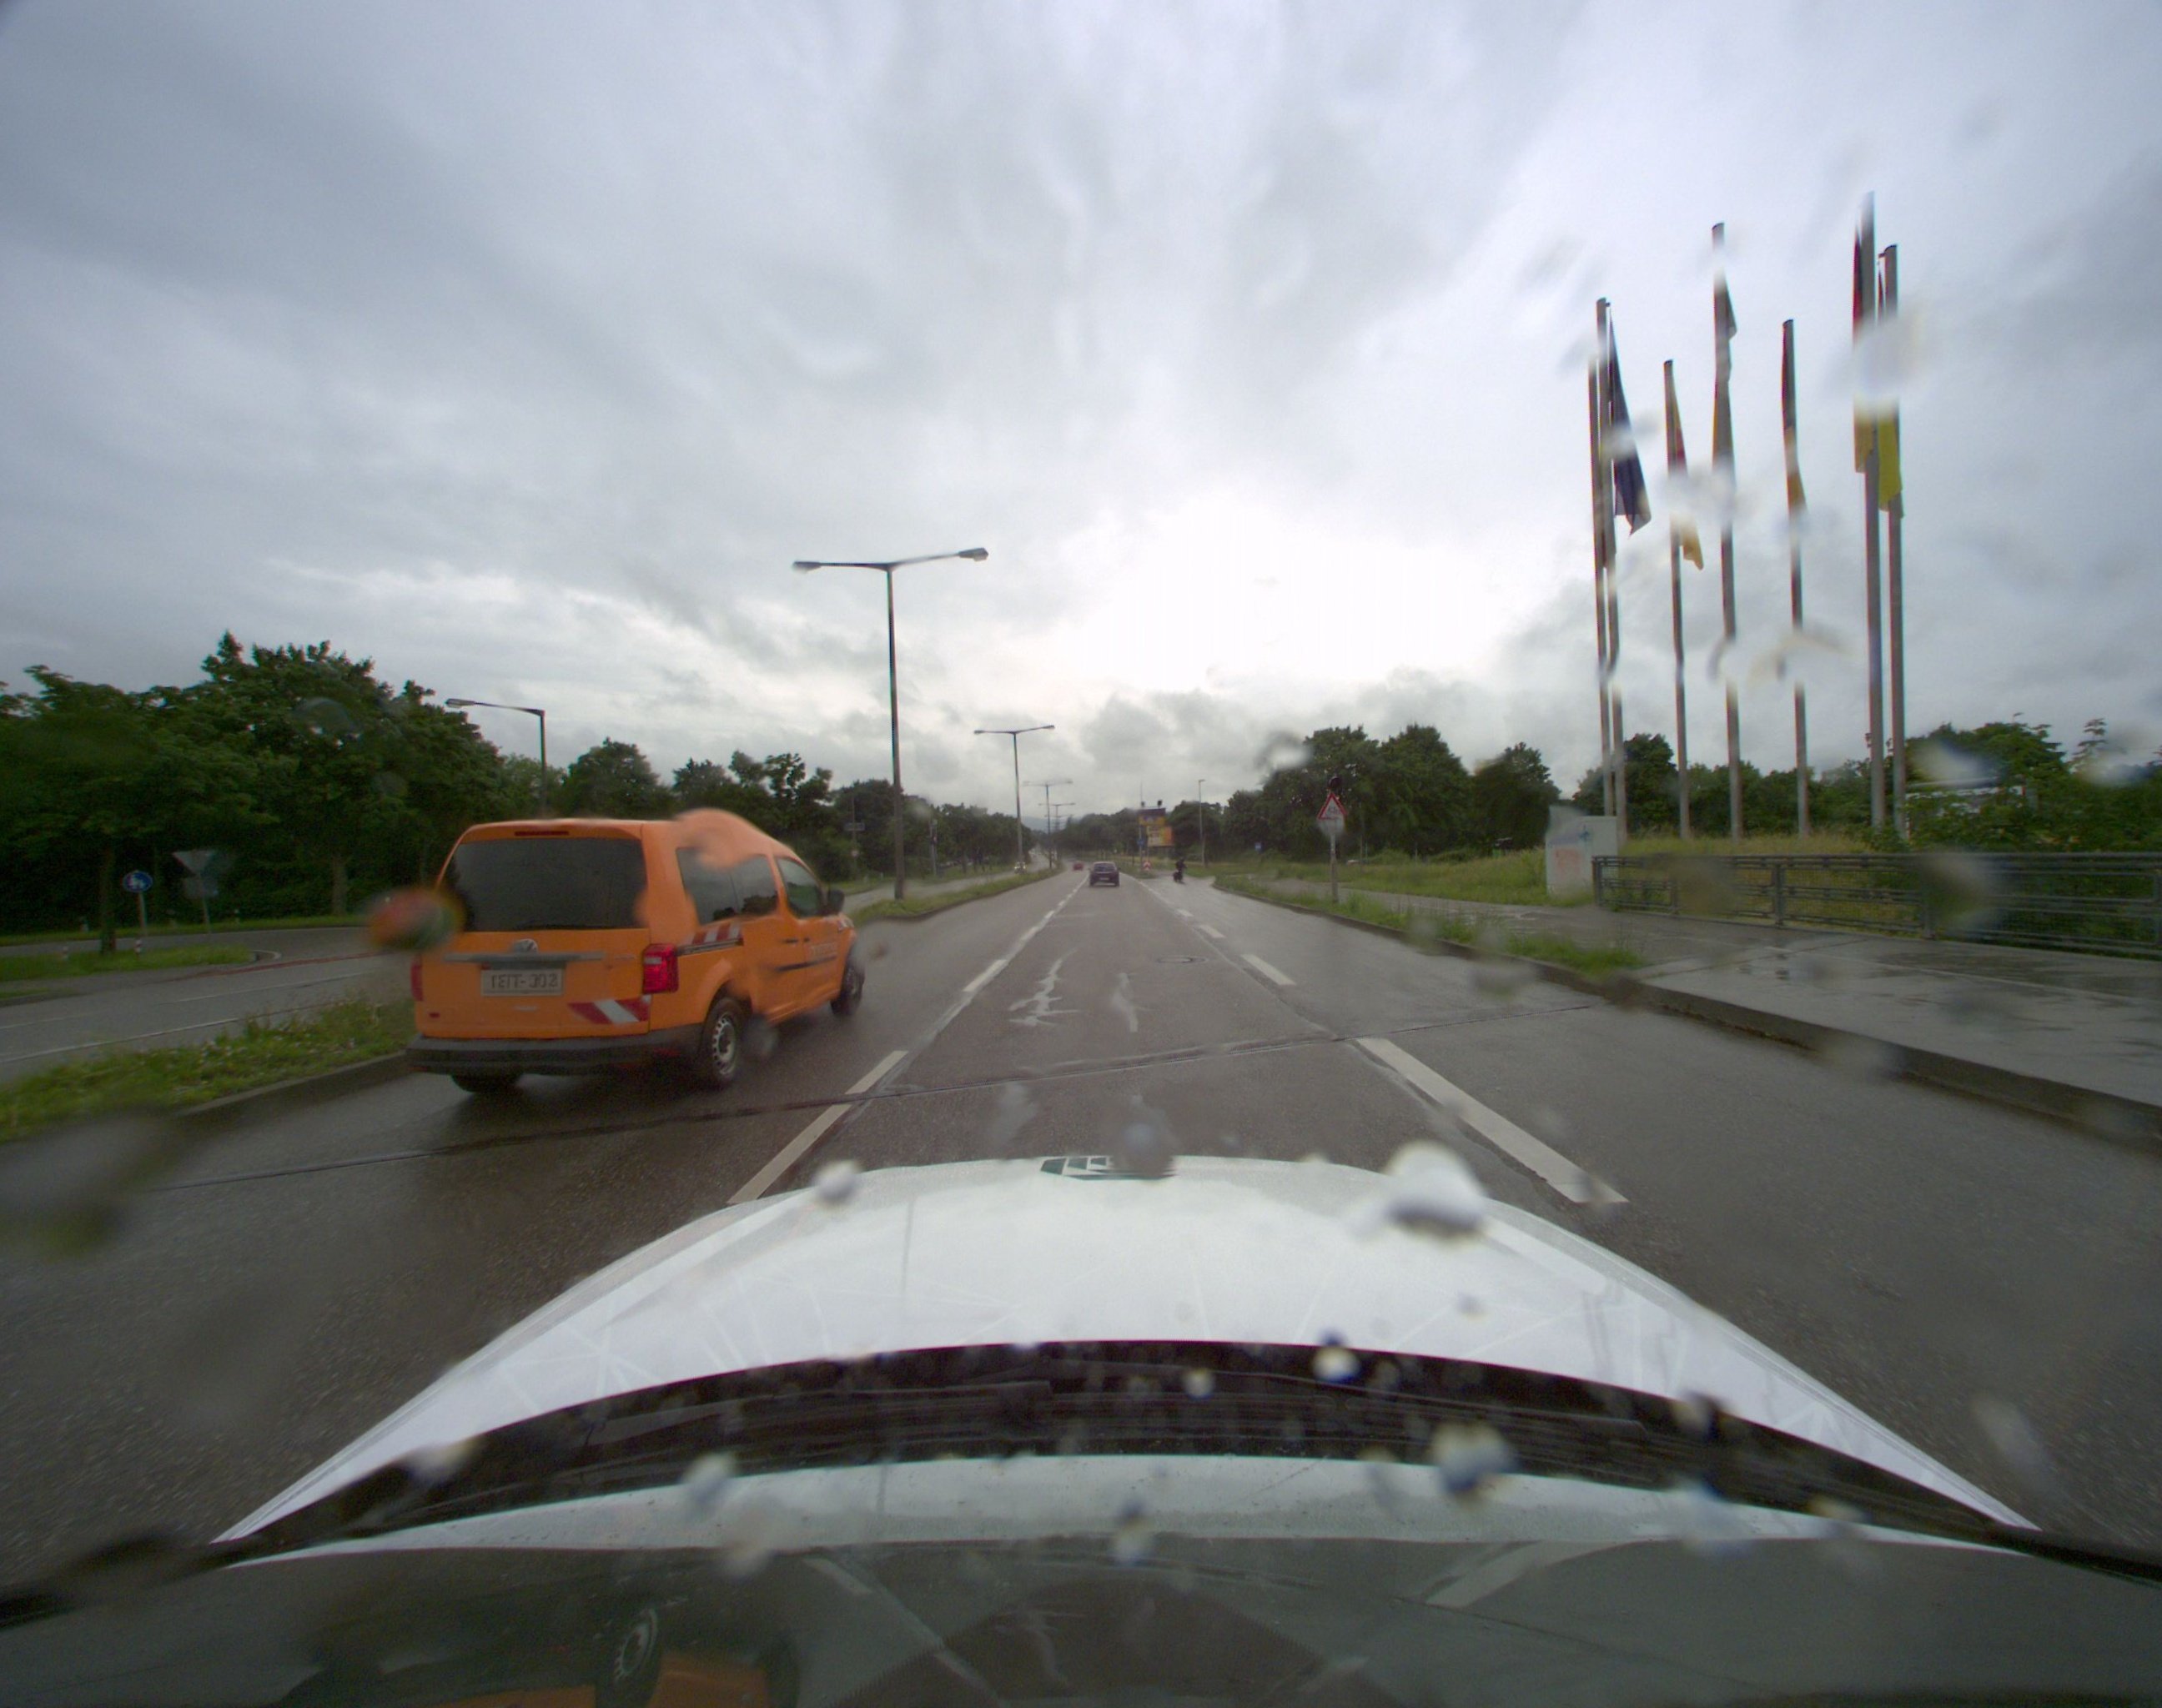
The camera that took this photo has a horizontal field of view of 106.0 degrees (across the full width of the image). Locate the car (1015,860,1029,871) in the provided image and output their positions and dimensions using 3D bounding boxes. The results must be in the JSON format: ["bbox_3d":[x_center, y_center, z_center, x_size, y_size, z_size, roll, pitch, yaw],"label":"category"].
[{"bbox_3d":[-9.234,1.738,127.041,1.701,1.629,4.492,-4,0,0],"label":"car"}]

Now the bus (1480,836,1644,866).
[{"bbox_3d":[49.557,-0.306,84.591,14.411,2.679,2.779,-2,0,25],"label":"bus"}]

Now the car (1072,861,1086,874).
[{"bbox_3d":[-0.313,1.925,120.768,1.987,1.879,4.000,-1,-1,0],"label":"car"}]

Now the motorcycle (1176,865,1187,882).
[{"bbox_3d":[6.884,1.334,55.817,0.597,1.093,1.737,-1,0,11],"label":"motorcycle"}]

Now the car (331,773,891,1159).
[{"bbox_3d":[-3.080,0.628,6.769,1.728,2.019,4.850,-1,-1,1],"label":"car"}]

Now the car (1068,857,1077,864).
[{"bbox_3d":[-2.671,1.941,256.964,2.510,2.052,5.287,-2,-1,-3],"label":"car"}]

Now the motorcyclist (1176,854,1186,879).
[{"bbox_3d":[6.864,0.874,55.799,0.597,1.690,0.863,-1,0,10],"label":"motorcyclist"}]

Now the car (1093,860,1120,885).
[{"bbox_3d":[1.457,1.044,47.135,1.458,1.329,3.758,-1,0,0],"label":"car"}]
